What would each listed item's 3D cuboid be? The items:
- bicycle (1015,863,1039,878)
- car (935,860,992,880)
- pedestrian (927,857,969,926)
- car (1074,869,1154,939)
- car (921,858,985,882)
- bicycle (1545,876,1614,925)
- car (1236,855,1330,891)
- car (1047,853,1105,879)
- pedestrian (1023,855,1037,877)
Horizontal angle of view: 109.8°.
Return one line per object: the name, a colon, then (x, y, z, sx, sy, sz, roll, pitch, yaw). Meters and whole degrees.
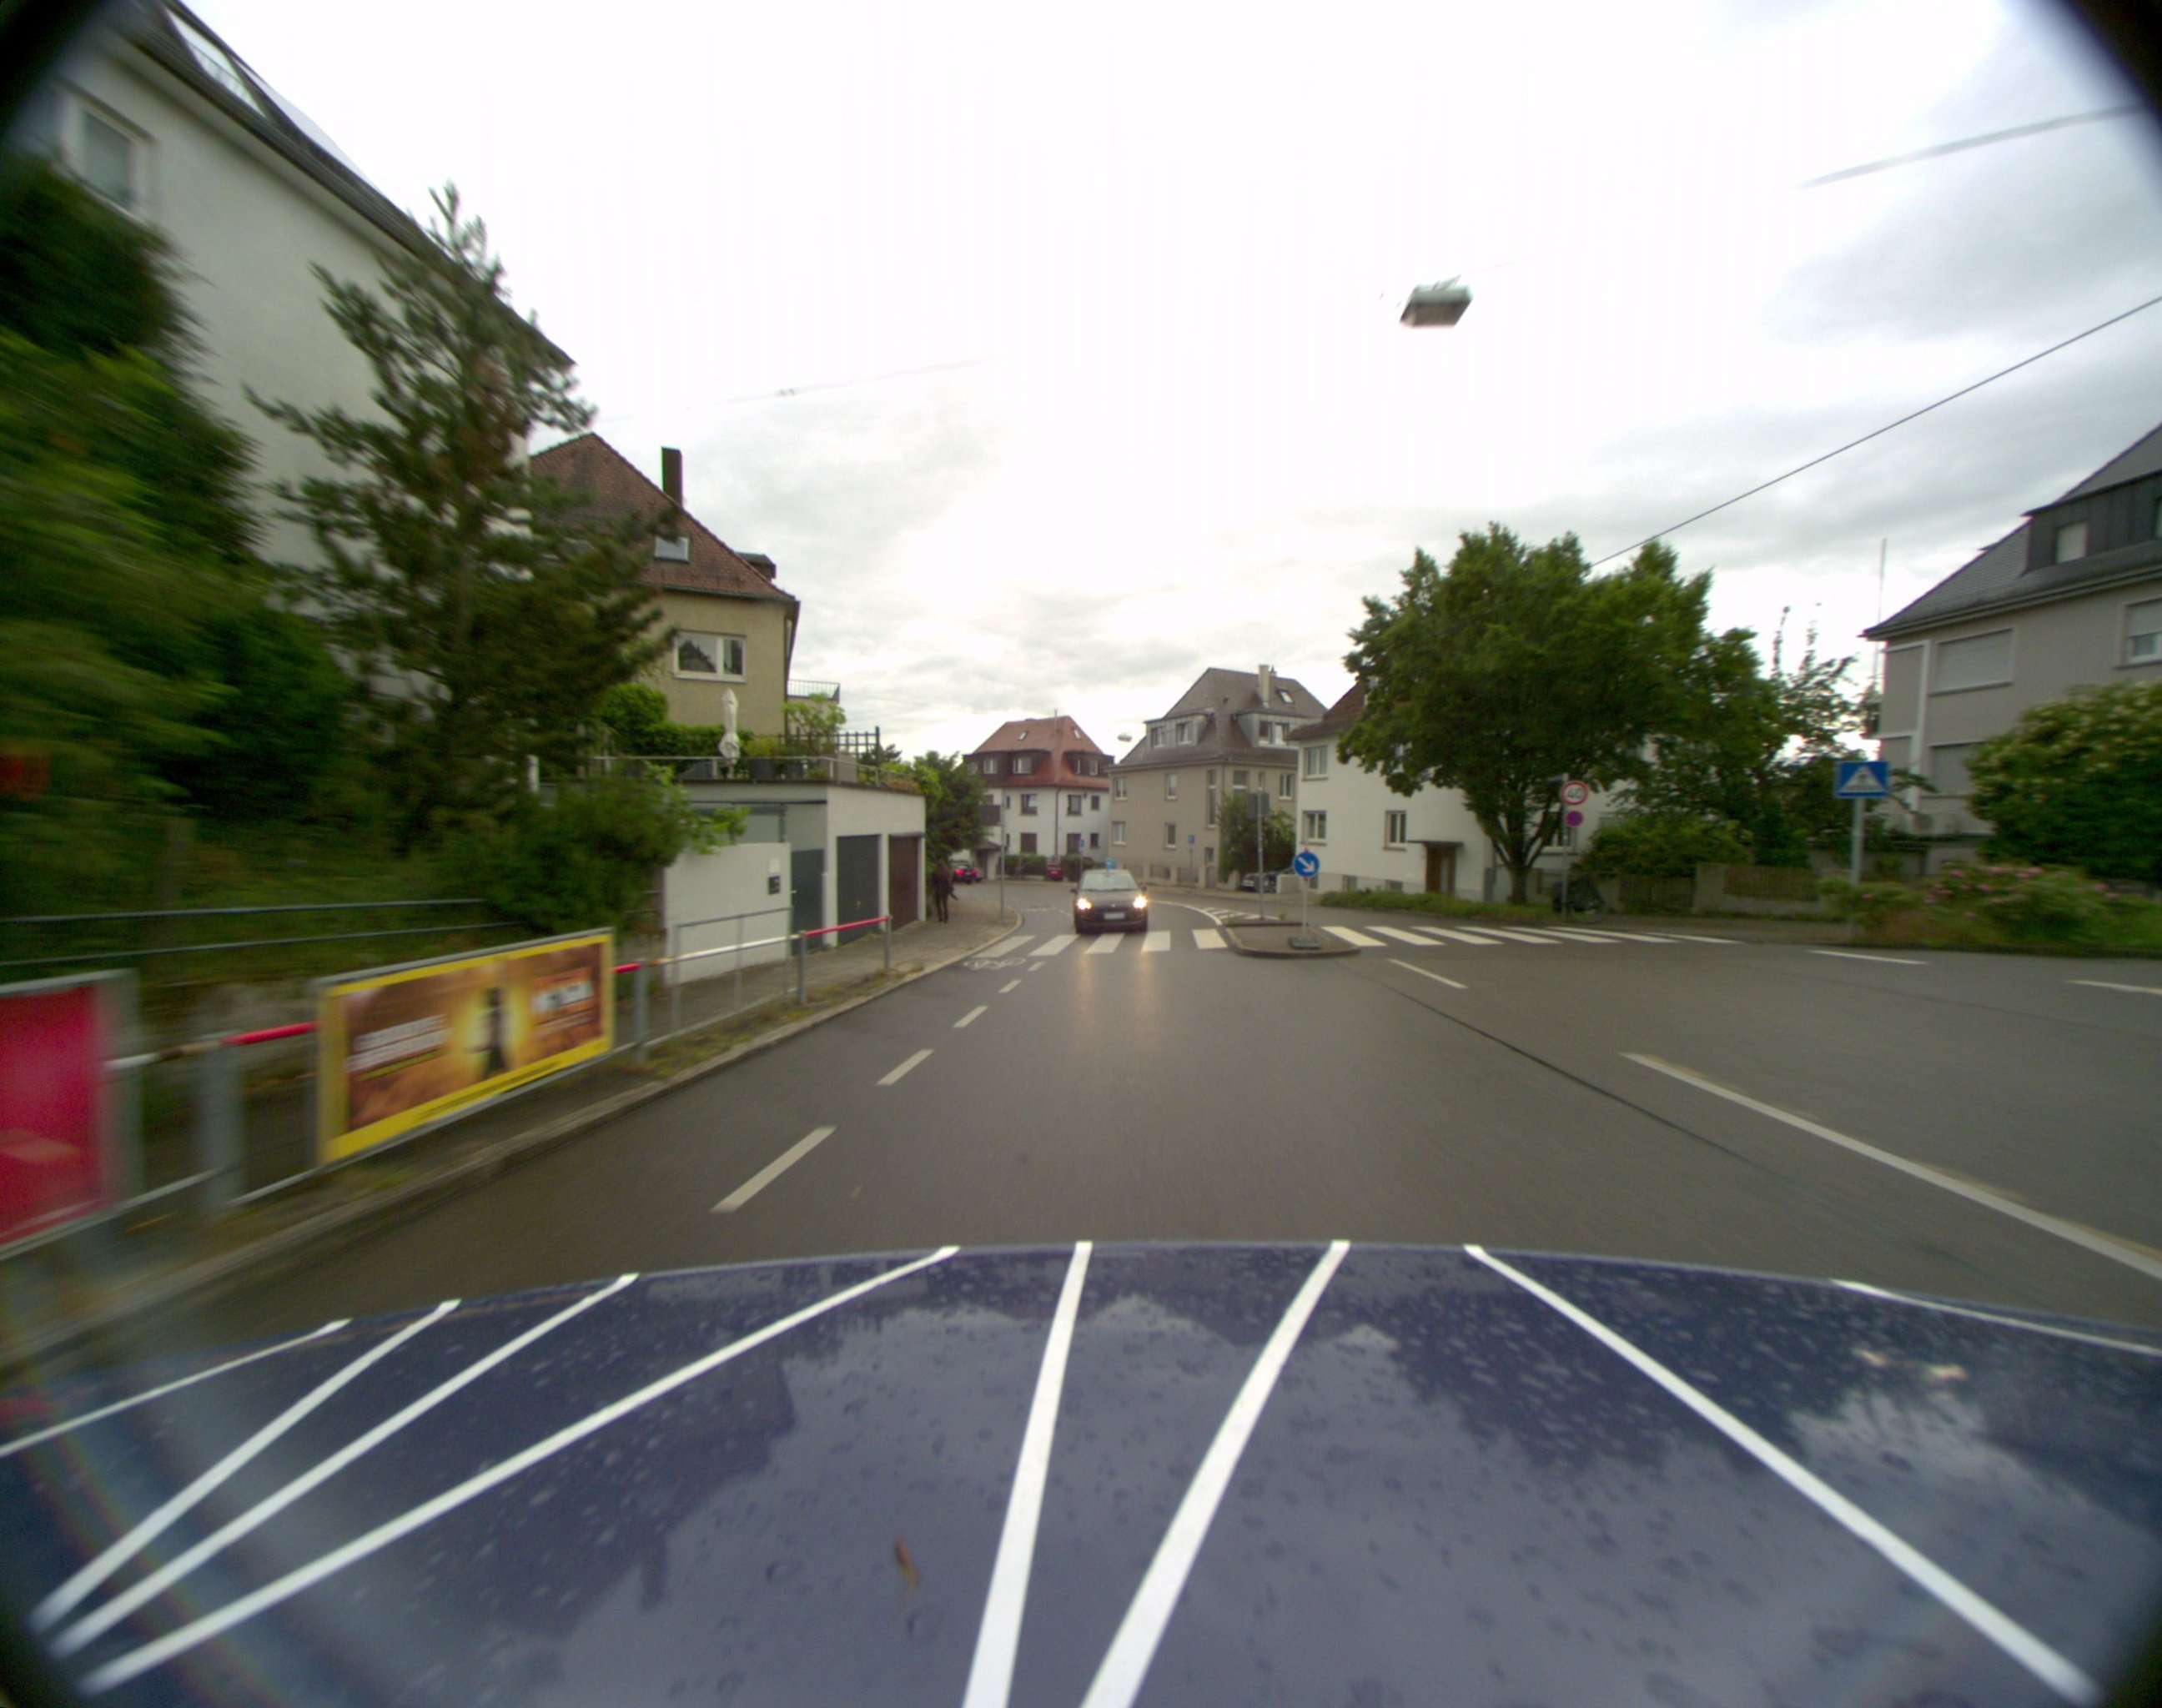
bicycle: (-4.071, 1.264, 57.436, 1.916, 1.061, 0.458, -1, 3, 35)
car: (-8.876, 1.220, 57.475, 4.217, 1.417, 1.845, -1, 1, 38)
pedestrian: (-3.461, 0.951, 19.842, 0.805, 1.712, 1.060, 2, 1, 5)
car: (0.710, 1.136, 18.554, 1.680, 1.405, 3.636, -2, 0, -1)
car: (-9.004, 1.110, 53.233, 4.623, 1.482, 1.881, 1, -4, 44)
bicycle: (11.718, 1.075, 17.945, 0.421, 1.078, 1.964, -2, -2, 4)
car: (10.299, 0.925, 38.784, 4.257, 1.614, 1.996, -2, 1, -19)
car: (-0.356, 0.906, 56.081, 1.994, 1.811, 4.009, -1, -2, 44)
pedestrian: (-3.893, 0.917, 58.124, 0.493, 1.568, 0.949, -1, 3, 34)
